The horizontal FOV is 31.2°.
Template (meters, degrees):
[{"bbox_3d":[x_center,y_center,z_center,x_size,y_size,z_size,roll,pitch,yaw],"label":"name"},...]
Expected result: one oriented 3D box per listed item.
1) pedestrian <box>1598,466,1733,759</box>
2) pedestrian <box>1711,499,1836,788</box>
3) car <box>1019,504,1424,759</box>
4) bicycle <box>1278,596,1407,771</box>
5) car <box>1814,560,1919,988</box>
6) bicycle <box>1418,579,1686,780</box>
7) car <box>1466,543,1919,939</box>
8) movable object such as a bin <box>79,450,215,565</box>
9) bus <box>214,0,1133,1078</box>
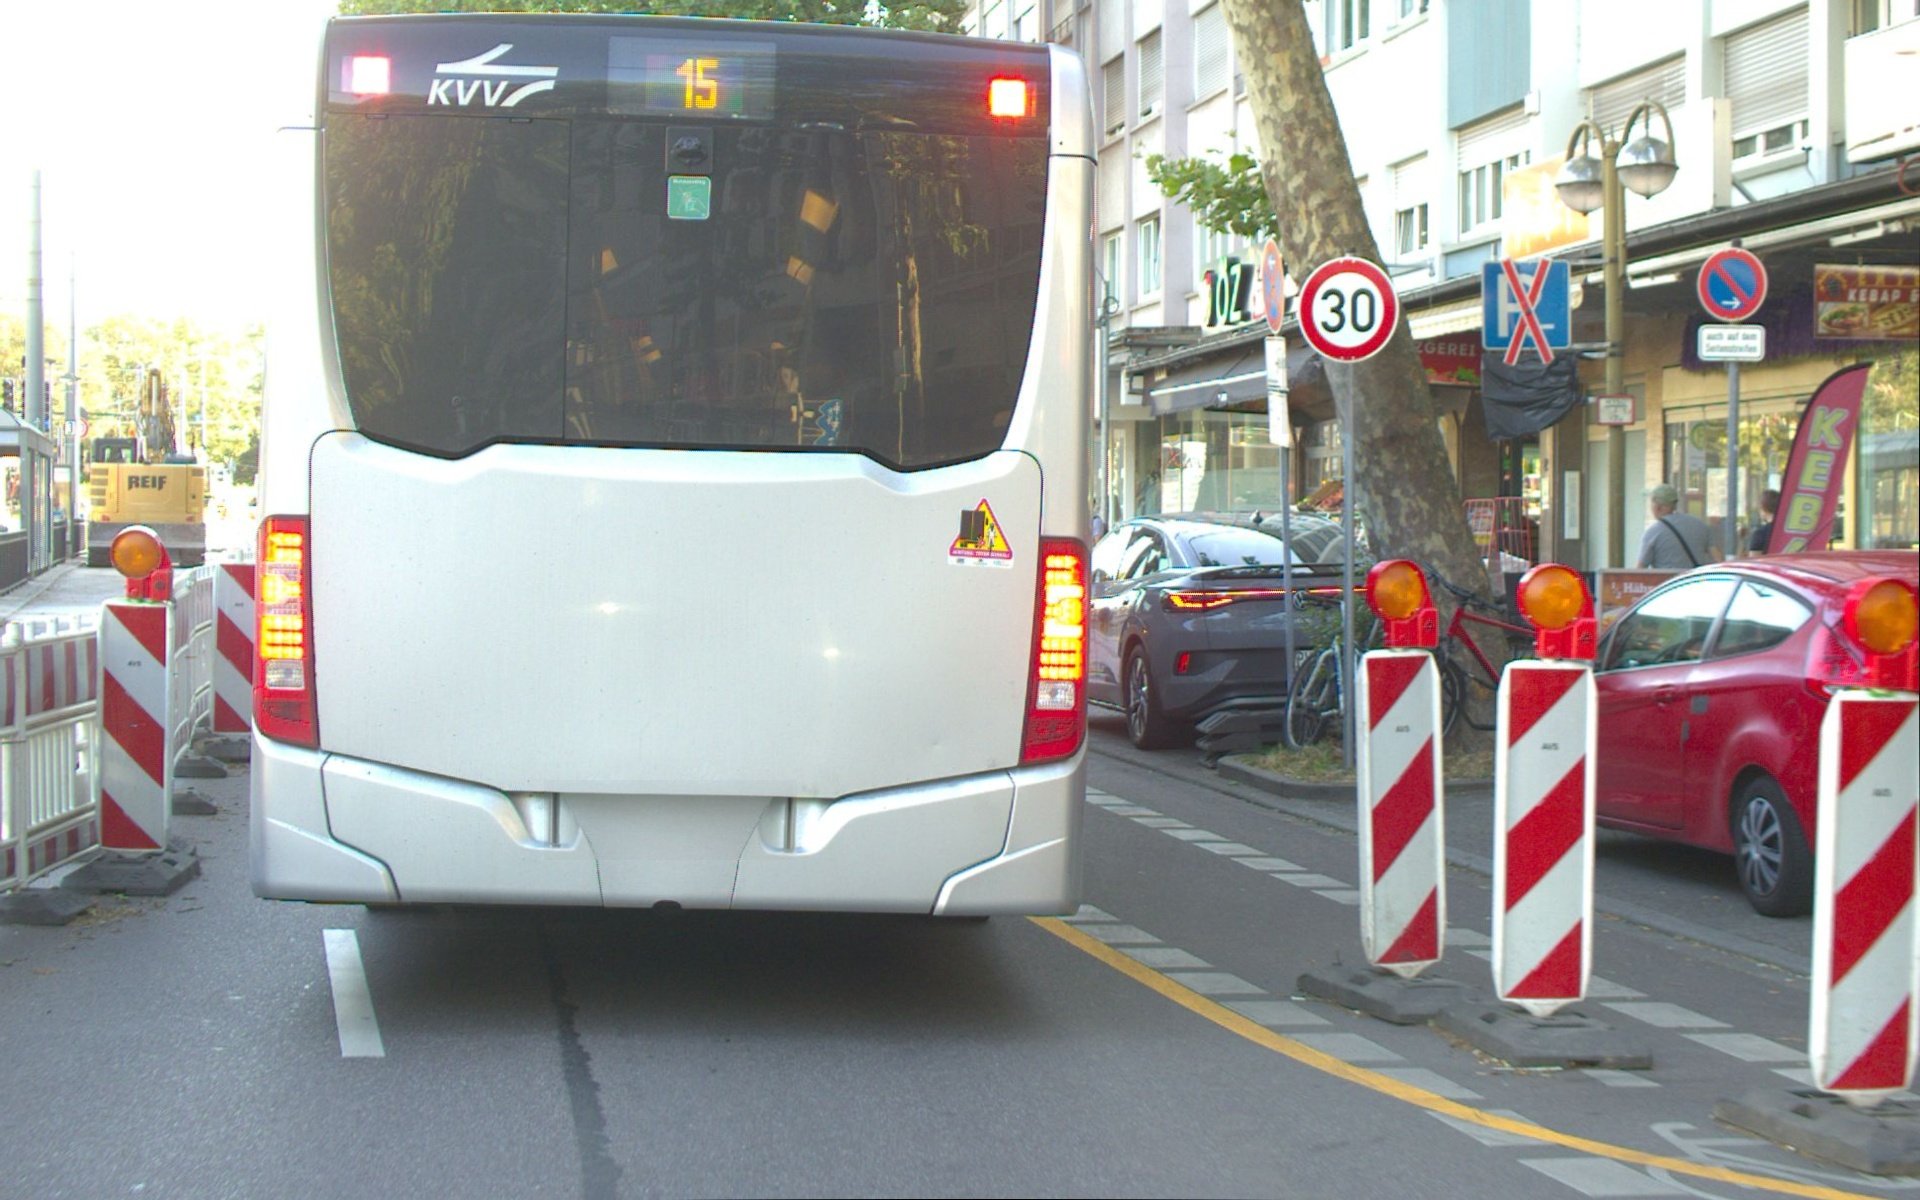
[{"bbox_3d":[4.910,0.076,23.955,0.690,2.007,0.696,0,1,-11],"label":"pedestrian"},{"bbox_3d":[5.727,0.295,24.217,0.612,2.007,0.696,0,1,-9],"label":"pedestrian"},{"bbox_3d":[1.757,0.142,24.566,1.739,1.592,4.300,-2,2,-11],"label":"car"},{"bbox_3d":[2.274,0.483,20.518,0.294,0.924,1.131,-5,5,-17],"label":"bicycle"},{"bbox_3d":[4.285,0.619,11.094,1.618,1.461,3.606,-2,2,-10],"label":"car"},{"bbox_3d":[3.411,0.460,19.844,1.460,1.063,0.295,-3,5,5],"label":"bicycle"},{"bbox_3d":[3.717,0.511,15.269,1.666,1.424,3.849,-2,2,-11],"label":"car"},{"bbox_3d":[-17.949,-2.047,76.112,2.806,2.453,4.001,0,2,-12],"label":"movable object such as a bin"},{"bbox_3d":[-1.271,-0.315,15.123,2.607,3.159,10.294,1,1,-5],"label":"bus"}]
